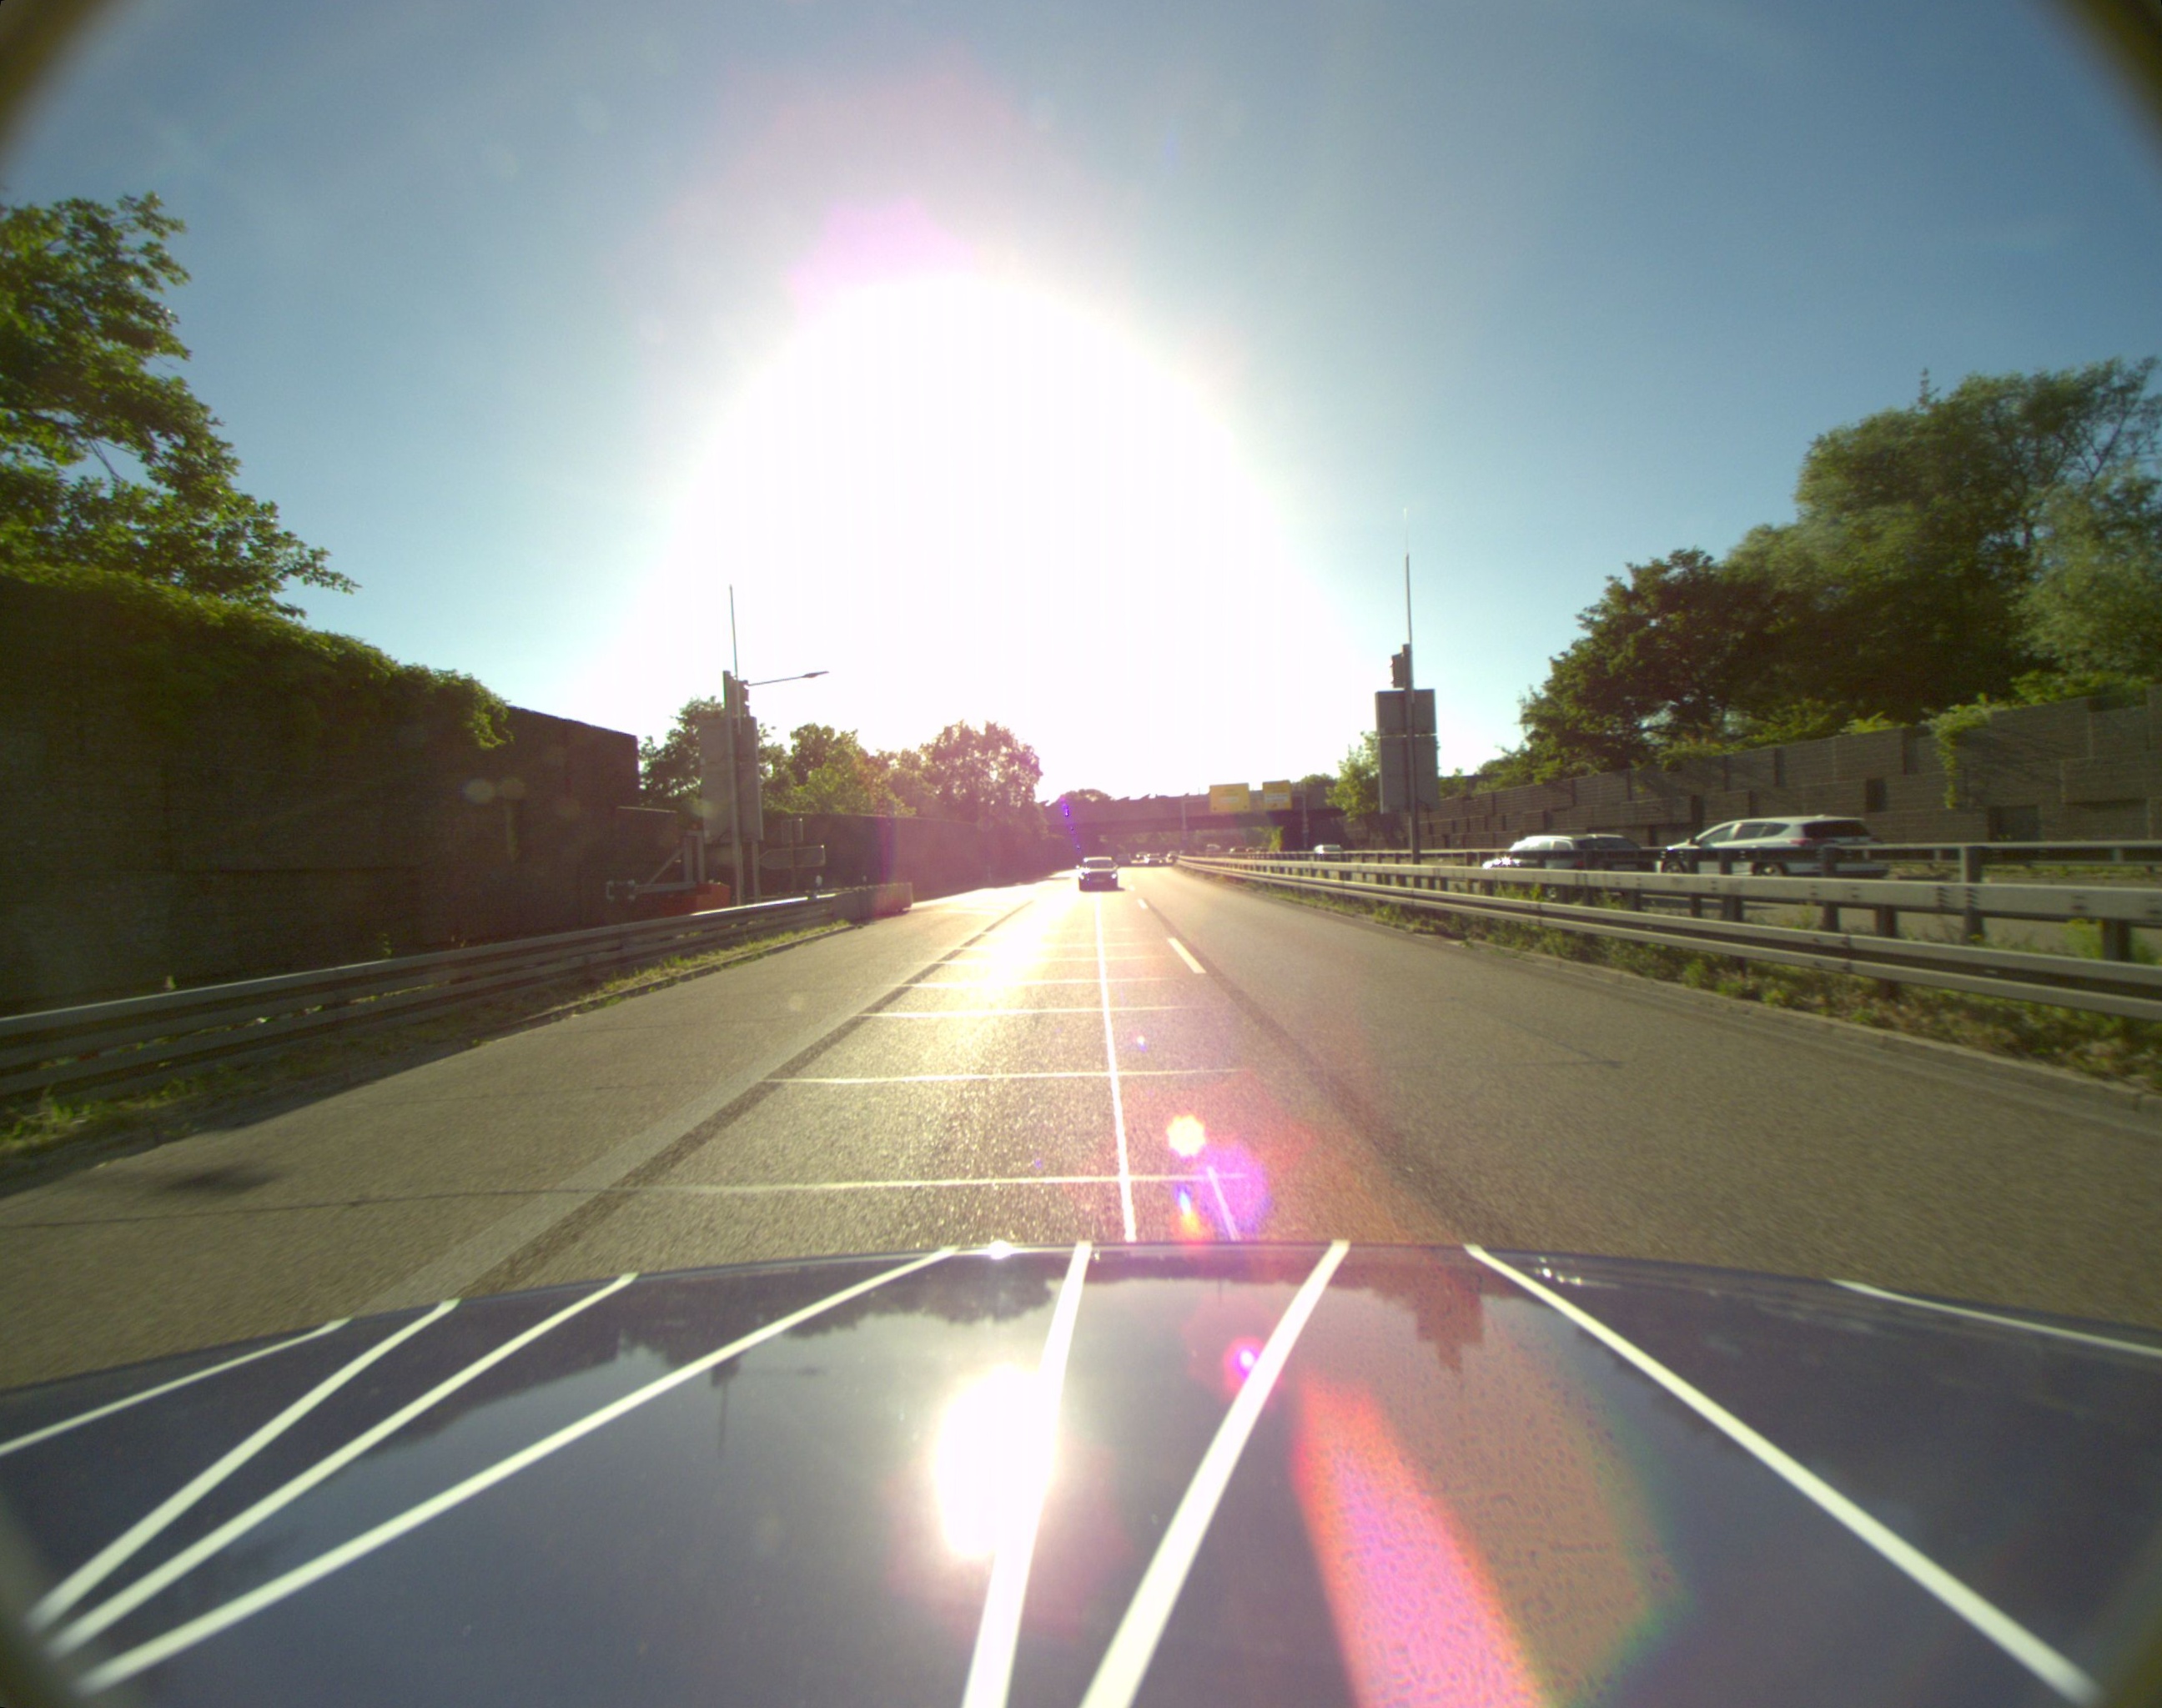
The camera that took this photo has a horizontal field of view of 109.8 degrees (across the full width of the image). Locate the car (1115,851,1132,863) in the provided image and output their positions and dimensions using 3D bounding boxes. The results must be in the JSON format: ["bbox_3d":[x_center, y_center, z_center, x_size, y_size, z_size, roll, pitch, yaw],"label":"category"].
[{"bbox_3d":[5.460,0.406,97.827,1.998,1.406,4.832,-3,0,4],"label":"car"}]

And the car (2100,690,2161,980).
[{"bbox_3d":[10.897,-0.259,4.015,2.126,2.667,6.589,-5,0,2],"label":"car"}]

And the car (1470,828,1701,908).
[{"bbox_3d":[11.309,0.295,17.615,1.998,1.425,5.090,-5,0,2],"label":"car"}]

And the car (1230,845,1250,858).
[{"bbox_3d":[21.896,-0.308,104.794,1.902,1.564,4.809,-5,0,5],"label":"car"}]

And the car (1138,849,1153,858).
[{"bbox_3d":[11.872,-0.078,139.975,1.996,1.406,4.835,-3,0,14],"label":"car"}]

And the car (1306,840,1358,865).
[{"bbox_3d":[16.908,-0.102,51.372,1.998,1.471,4.535,-5,0,2],"label":"car"}]

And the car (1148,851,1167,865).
[{"bbox_3d":[8.621,0.447,86.137,1.998,1.406,4.832,-3,0,5],"label":"car"}]

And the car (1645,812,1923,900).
[{"bbox_3d":[15.512,0.052,17.221,1.998,1.586,4.622,-5,0,2],"label":"car"}]

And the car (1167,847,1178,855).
[{"bbox_3d":[18.434,-0.555,152.593,1.997,1.406,4.834,-3,0,10],"label":"car"}]

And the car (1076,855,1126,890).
[{"bbox_3d":[1.008,0.793,35.324,1.998,1.406,4.832,-2,0,5],"label":"car"}]

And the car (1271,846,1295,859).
[{"bbox_3d":[23.206,-0.189,87.369,1.902,1.413,4.136,-1,0,5],"label":"car"}]
